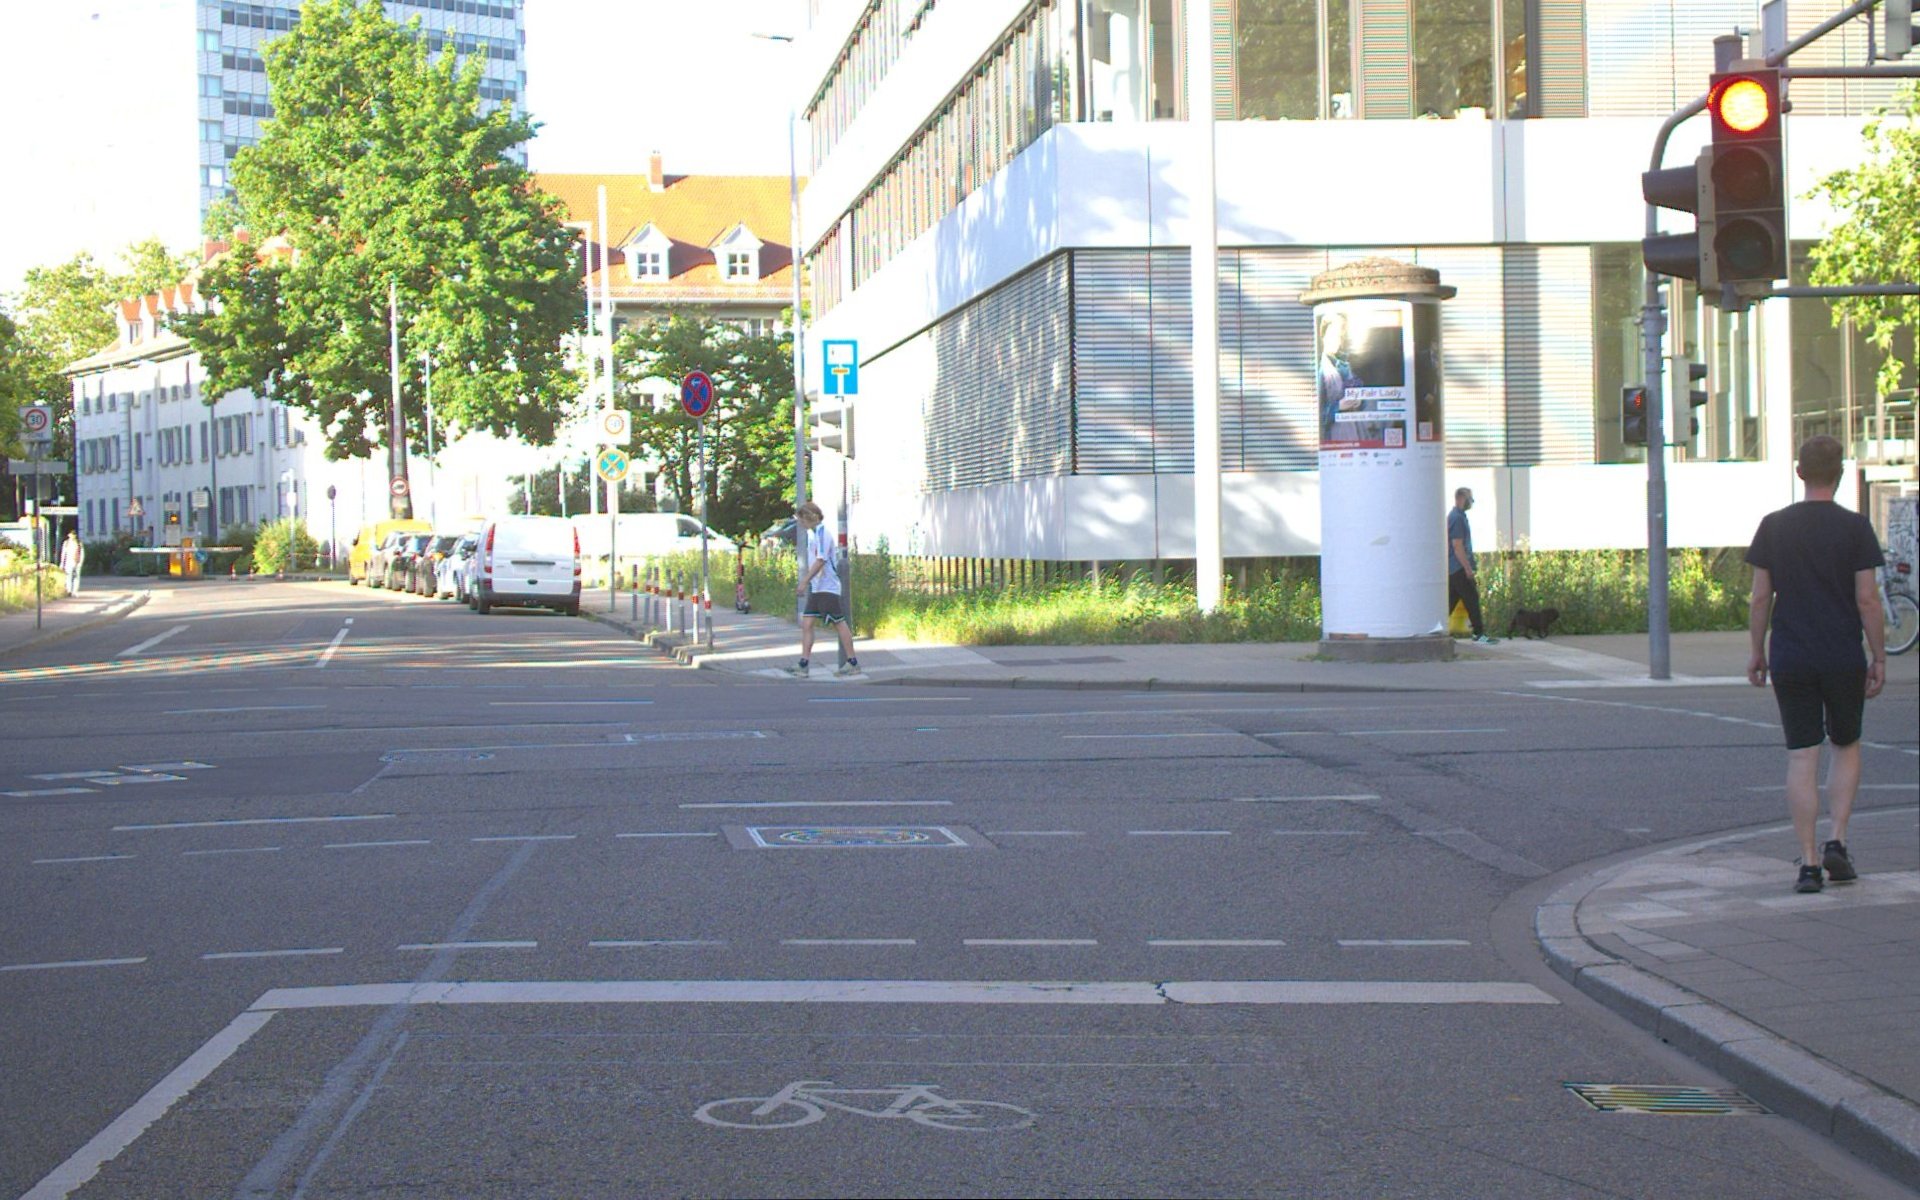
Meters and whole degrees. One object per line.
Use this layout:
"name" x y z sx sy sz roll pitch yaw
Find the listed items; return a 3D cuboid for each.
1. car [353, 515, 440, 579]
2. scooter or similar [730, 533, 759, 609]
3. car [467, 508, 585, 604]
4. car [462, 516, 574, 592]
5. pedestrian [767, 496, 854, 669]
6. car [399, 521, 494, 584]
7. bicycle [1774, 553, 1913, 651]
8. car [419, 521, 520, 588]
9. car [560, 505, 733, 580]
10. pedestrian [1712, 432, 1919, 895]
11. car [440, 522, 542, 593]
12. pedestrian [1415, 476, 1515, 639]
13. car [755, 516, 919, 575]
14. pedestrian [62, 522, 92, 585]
"car" -15.732 -1.469 95.834 1.993 1.719 4.653 1 1 -14
"scooter or similar" -3.657 -0.500 58.290 0.437 1.252 1.420 -1 1 -4
"car" -8.217 -0.827 64.821 1.993 1.719 4.653 1 1 -10
"car" -9.167 -0.946 71.035 1.993 1.493 4.653 1 1 -11
"pedestrian" -1.635 -0.193 37.745 0.914 1.862 0.742 1 0 -1
"car" -12.874 -1.179 85.978 1.993 1.493 4.653 1 1 -13
"bicycle" 9.284 0.017 36.145 0.378 1.005 1.432 -2 2 -42
"car" -11.621 -1.074 81.254 1.993 1.493 4.288 1 1 -13
"car" -9.395 -1.720 102.930 4.791 2.151 2.001 1 0 -17
"pedestrian" 3.447 0.244 13.825 0.699 1.804 0.720 1 0 4
"car" -10.500 -0.948 76.807 1.993 1.493 4.653 1 1 -11
"pedestrian" 5.701 -0.475 38.849 0.914 1.809 0.762 1 0 -8
"car" -3.748 -1.647 104.773 4.635 1.719 2.001 1 1 -16
"pedestrian" -22.409 -1.185 87.215 0.699 1.581 0.637 1 0 -16
